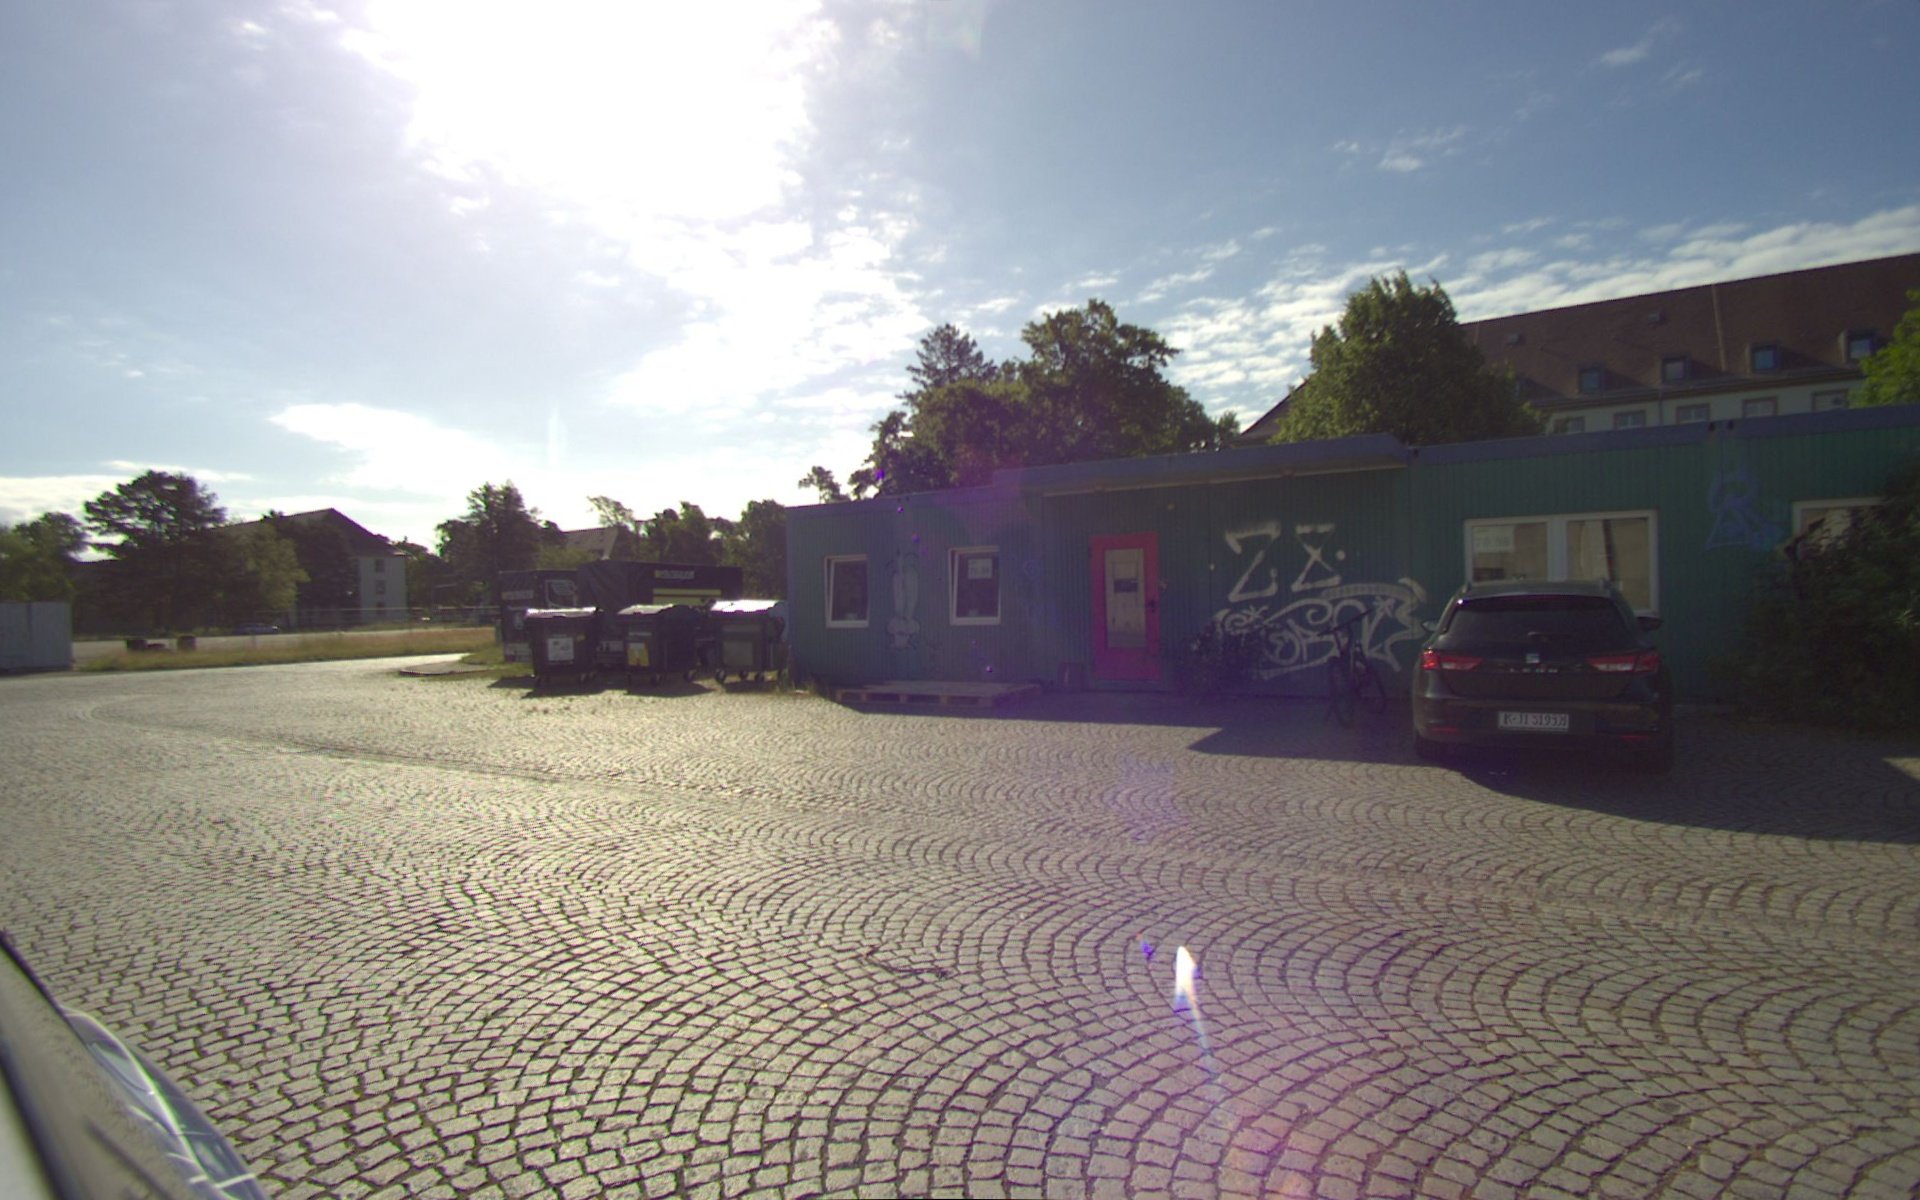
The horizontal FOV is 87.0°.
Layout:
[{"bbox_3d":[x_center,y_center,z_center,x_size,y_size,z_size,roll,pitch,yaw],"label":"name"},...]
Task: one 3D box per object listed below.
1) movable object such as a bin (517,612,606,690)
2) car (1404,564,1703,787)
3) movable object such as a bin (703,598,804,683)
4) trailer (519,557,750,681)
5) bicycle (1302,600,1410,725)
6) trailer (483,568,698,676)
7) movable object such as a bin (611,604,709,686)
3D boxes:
[{"bbox_3d":[-7.539,0.943,19.195,1.343,1.396,1.049,-2,0,-9],"label":"movable object such as a bin"},{"bbox_3d":[5.029,0.442,8.650,1.725,1.423,4.020,-2,1,31],"label":"car"},{"bbox_3d":[-3.712,0.719,18.231,1.399,1.447,1.081,-2,0,22],"label":"movable object such as a bin"},{"bbox_3d":[-6.979,0.335,22.304,1.934,2.409,4.809,-2,1,28],"label":"trailer"},{"bbox_3d":[4.124,0.600,10.472,0.672,1.109,1.694,-2,1,33],"label":"bicycle"},{"bbox_3d":[-8.648,0.441,24.076,2.008,2.290,4.418,-2,1,33],"label":"trailer"},{"bbox_3d":[-5.465,0.797,18.436,1.367,1.396,1.070,-2,0,37],"label":"movable object such as a bin"}]
